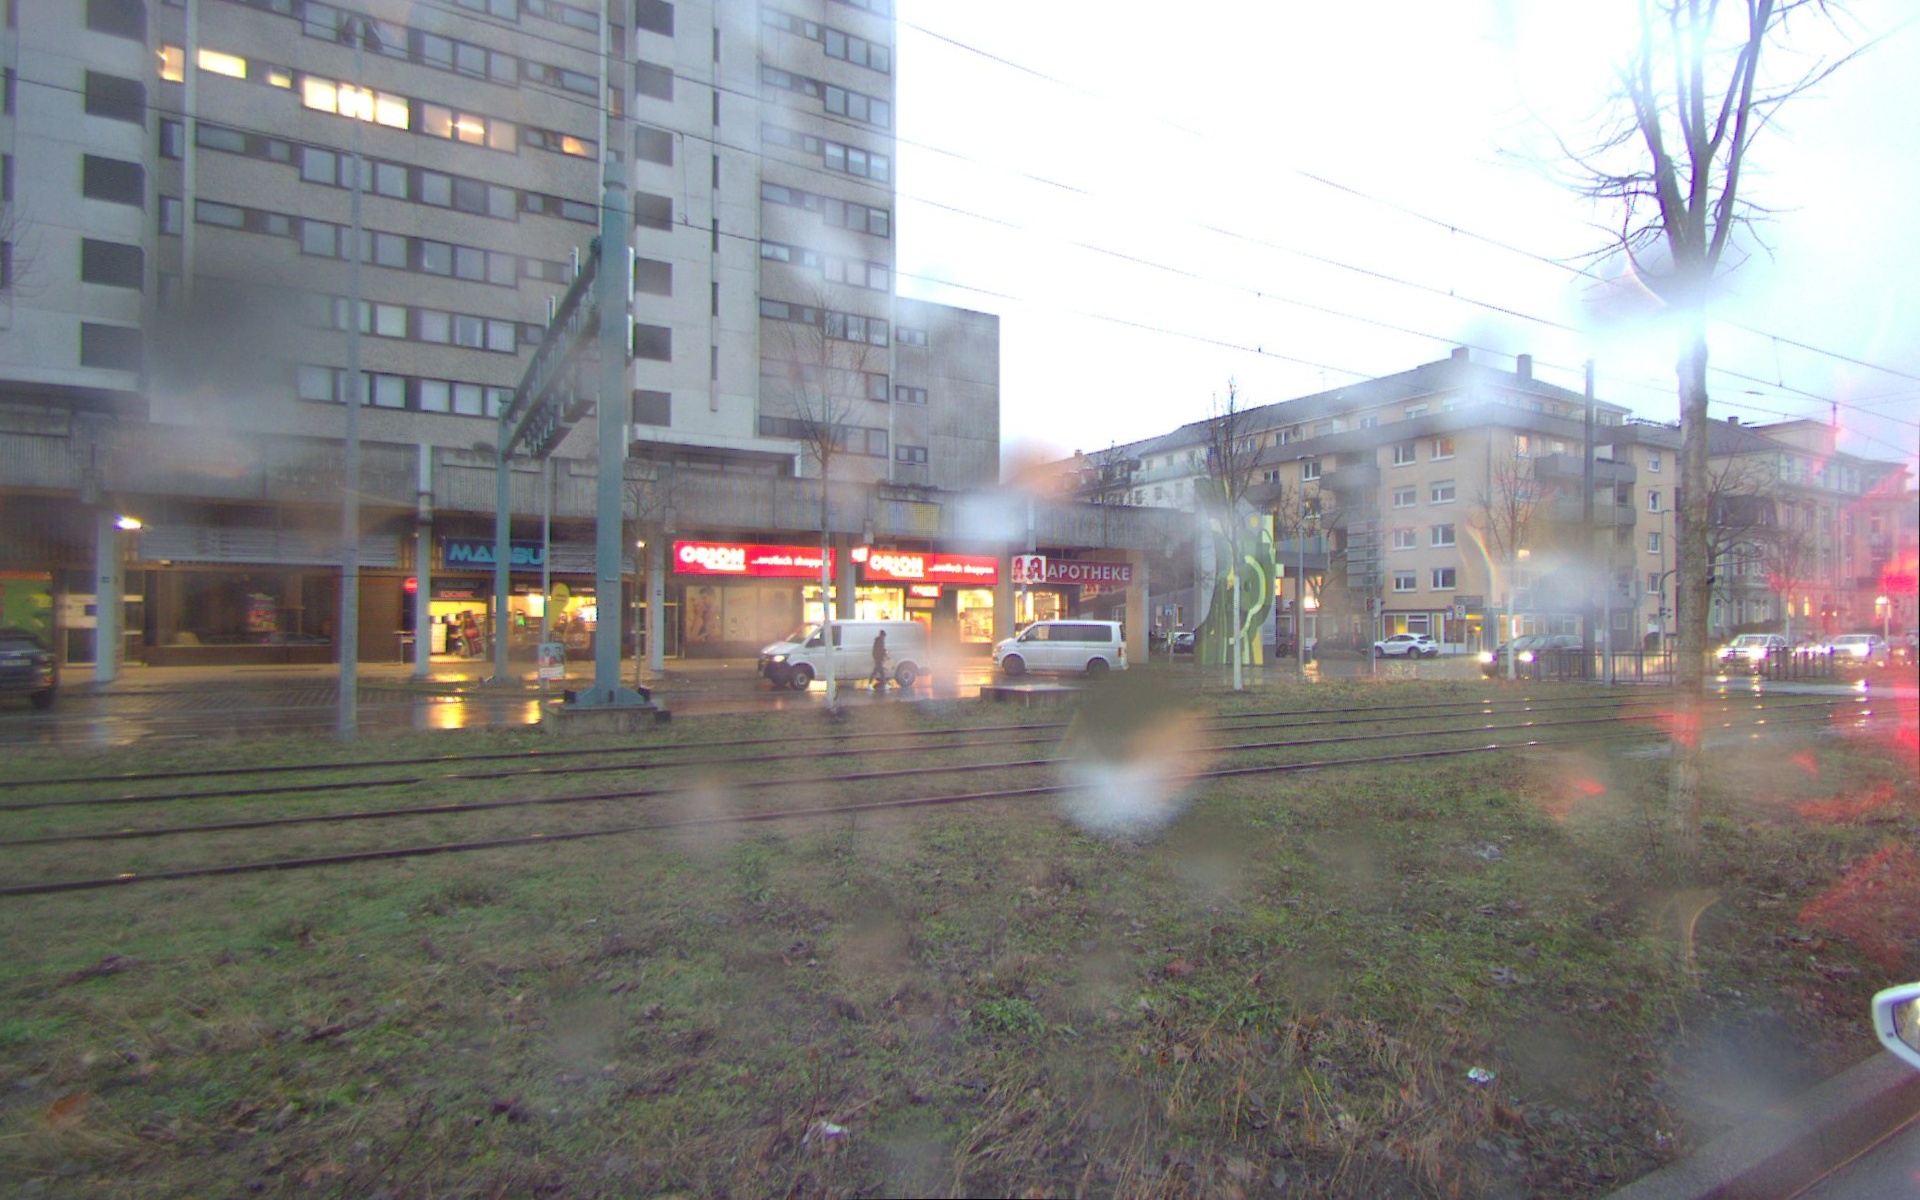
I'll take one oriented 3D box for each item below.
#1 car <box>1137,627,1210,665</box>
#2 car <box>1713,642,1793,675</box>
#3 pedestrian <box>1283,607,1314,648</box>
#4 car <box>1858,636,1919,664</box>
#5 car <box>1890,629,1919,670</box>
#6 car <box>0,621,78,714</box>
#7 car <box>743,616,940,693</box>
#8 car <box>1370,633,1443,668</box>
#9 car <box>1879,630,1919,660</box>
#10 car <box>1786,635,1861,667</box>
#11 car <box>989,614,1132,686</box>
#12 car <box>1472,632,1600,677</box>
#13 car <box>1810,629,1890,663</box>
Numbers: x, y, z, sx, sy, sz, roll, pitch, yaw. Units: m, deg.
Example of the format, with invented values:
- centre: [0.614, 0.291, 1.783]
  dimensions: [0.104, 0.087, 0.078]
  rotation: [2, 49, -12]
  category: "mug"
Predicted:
- centre: [12.385, 2.644, 58.171]
  dimensions: [3.830, 2.040, 1.884]
  rotation: [2, 0, -31]
  category: "car"
- centre: [34.268, 2.493, 43.367]
  dimensions: [4.108, 1.294, 1.679]
  rotation: [2, -2, -36]
  category: "car"
- centre: [17.000, 1.369, 50.447]
  dimensions: [1.253, 2.040, 1.004]
  rotation: [-1, -1, 37]
  category: "pedestrian"
- centre: [59.269, 3.170, 63.947]
  dimensions: [3.952, 1.623, 1.941]
  rotation: [2, 0, -30]
  category: "car"
- centre: [40.760, 2.074, 41.814]
  dimensions: [3.954, 1.623, 1.983]
  rotation: [2, 0, -31]
  category: "car"
- centre: [-20.779, 1.374, 21.186]
  dimensions: [4.067, 1.715, 1.982]
  rotation: [2, 0, 28]
  category: "car"
- centre: [-3.509, 1.592, 29.975]
  dimensions: [5.490, 2.073, 1.987]
  rotation: [2, 0, -26]
  category: "car"
- centre: [27.829, 3.109, 62.652]
  dimensions: [1.825, 1.968, 3.720]
  rotation: [1, 0, -37]
  category: "car"
- centre: [55.194, 2.620, 58.061]
  dimensions: [3.952, 1.623, 1.941]
  rotation: [2, 0, -30]
  category: "car"
- centre: [48.378, 2.858, 56.279]
  dimensions: [3.952, 1.623, 1.941]
  rotation: [2, 0, -30]
  category: "car"
- centre: [3.569, 1.718, 35.466]
  dimensions: [4.734, 2.274, 2.001]
  rotation: [2, 0, 15]
  category: "car"
- centre: [19.511, 1.821, 33.994]
  dimensions: [4.265, 1.350, 1.850]
  rotation: [2, 0, -30]
  category: "car"
- centre: [43.897, 2.273, 49.545]
  dimensions: [3.953, 1.598, 1.858]
  rotation: [1, -1, -30]
  category: "car"
